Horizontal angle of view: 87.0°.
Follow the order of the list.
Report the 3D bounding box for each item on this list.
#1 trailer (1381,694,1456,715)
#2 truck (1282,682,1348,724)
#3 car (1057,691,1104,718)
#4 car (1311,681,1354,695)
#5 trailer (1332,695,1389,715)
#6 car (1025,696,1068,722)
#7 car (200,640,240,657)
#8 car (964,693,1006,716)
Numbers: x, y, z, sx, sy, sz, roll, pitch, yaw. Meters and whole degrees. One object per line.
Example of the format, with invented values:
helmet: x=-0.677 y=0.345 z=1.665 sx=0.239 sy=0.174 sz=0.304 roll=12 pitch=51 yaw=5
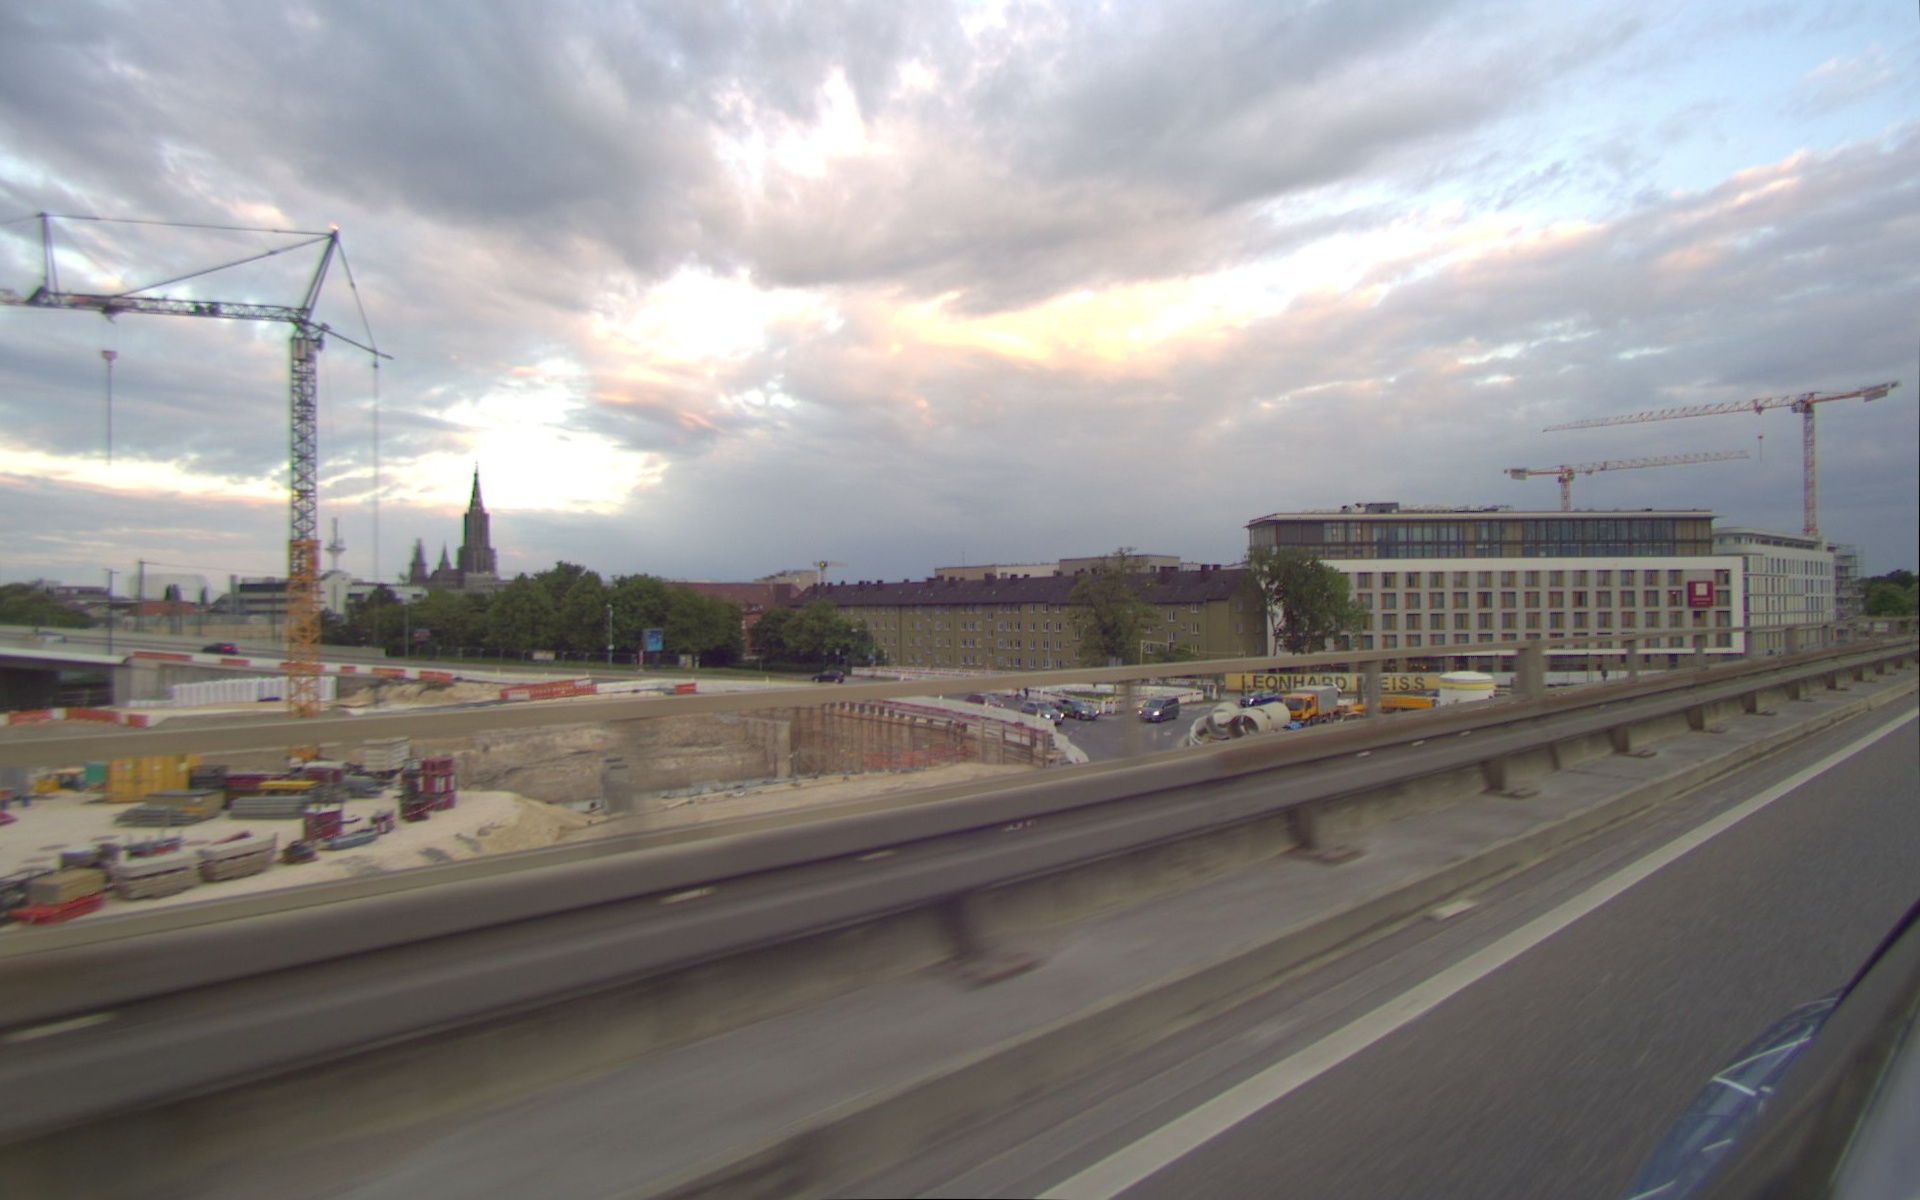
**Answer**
trailer: x=40.220 y=9.165 z=88.904 sx=5.827 sy=1.365 sz=2.004 roll=0 pitch=0 yaw=32
truck: x=29.007 y=8.350 z=82.538 sx=2.157 sy=2.987 sz=7.217 roll=-4 pitch=-4 yaw=45
car: x=10.024 y=8.694 z=84.349 sx=1.768 sy=1.741 sz=4.106 roll=-3 pitch=1 yaw=-30
car: x=39.383 y=9.314 z=107.047 sx=3.937 sy=1.461 sz=1.905 roll=-1 pitch=-5 yaw=11
trailer: x=34.630 y=9.040 z=87.370 sx=5.768 sy=1.366 sz=1.996 roll=1 pitch=-7 yaw=-40
car: x=6.810 y=8.623 z=80.320 sx=1.611 sy=1.761 sz=3.799 roll=-1 pitch=-1 yaw=-26
car: x=-98.110 y=6.495 z=134.178 sx=3.939 sy=2.040 sz=1.991 roll=2 pitch=-4 yaw=12
car: x=2.128 y=9.089 z=88.178 sx=1.620 sy=1.639 sz=3.762 roll=0 pitch=-1 yaw=-40
